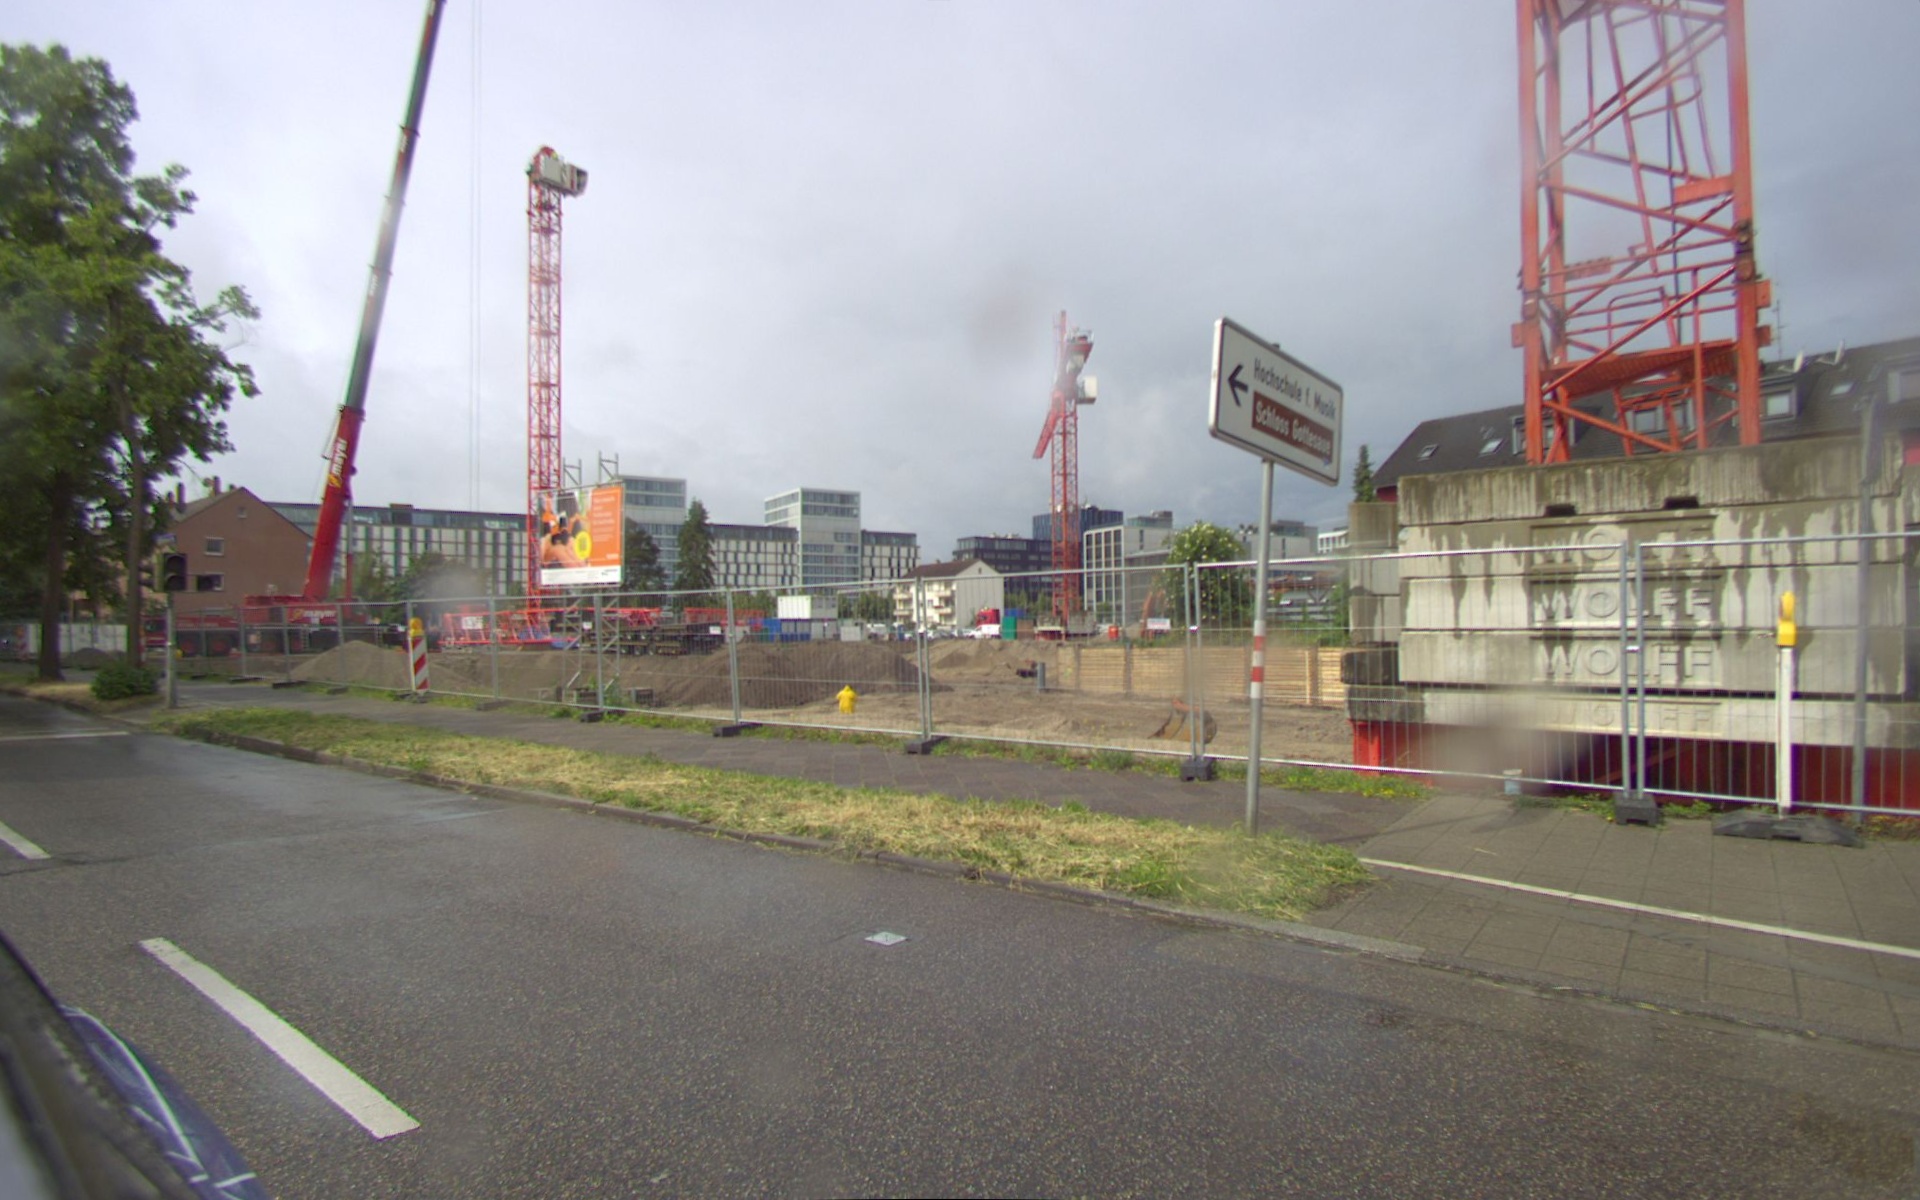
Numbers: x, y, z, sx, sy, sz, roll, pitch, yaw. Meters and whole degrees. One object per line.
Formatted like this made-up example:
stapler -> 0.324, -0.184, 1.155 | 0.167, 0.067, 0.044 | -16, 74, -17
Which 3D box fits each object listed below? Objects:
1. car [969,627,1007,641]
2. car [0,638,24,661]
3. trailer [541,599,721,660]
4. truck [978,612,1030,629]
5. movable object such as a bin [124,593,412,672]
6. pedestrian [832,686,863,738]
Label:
car -> 3.404, 4.115, 123.640 | 4.579, 1.529, 1.798 | -1, 0, 42
car -> -67.566, 3.476, 71.309 | 3.993, 1.541, 1.673 | -1, 0, 37
trailer -> -20.349, 1.780, 61.750 | 14.291, 3.257, 2.933 | -1, 2, 38
truck -> 5.616, 2.587, 128.830 | 6.286, 2.095, 1.886 | -1, 0, 22
movable object such as a bin -> -45.933, 1.934, 68.184 | 3.100, 4.592, 15.739 | -1, 0, 41
pedestrian -> -3.809, 3.795, 34.335 | 0.849, 1.698, 0.580 | -2, -5, 44
